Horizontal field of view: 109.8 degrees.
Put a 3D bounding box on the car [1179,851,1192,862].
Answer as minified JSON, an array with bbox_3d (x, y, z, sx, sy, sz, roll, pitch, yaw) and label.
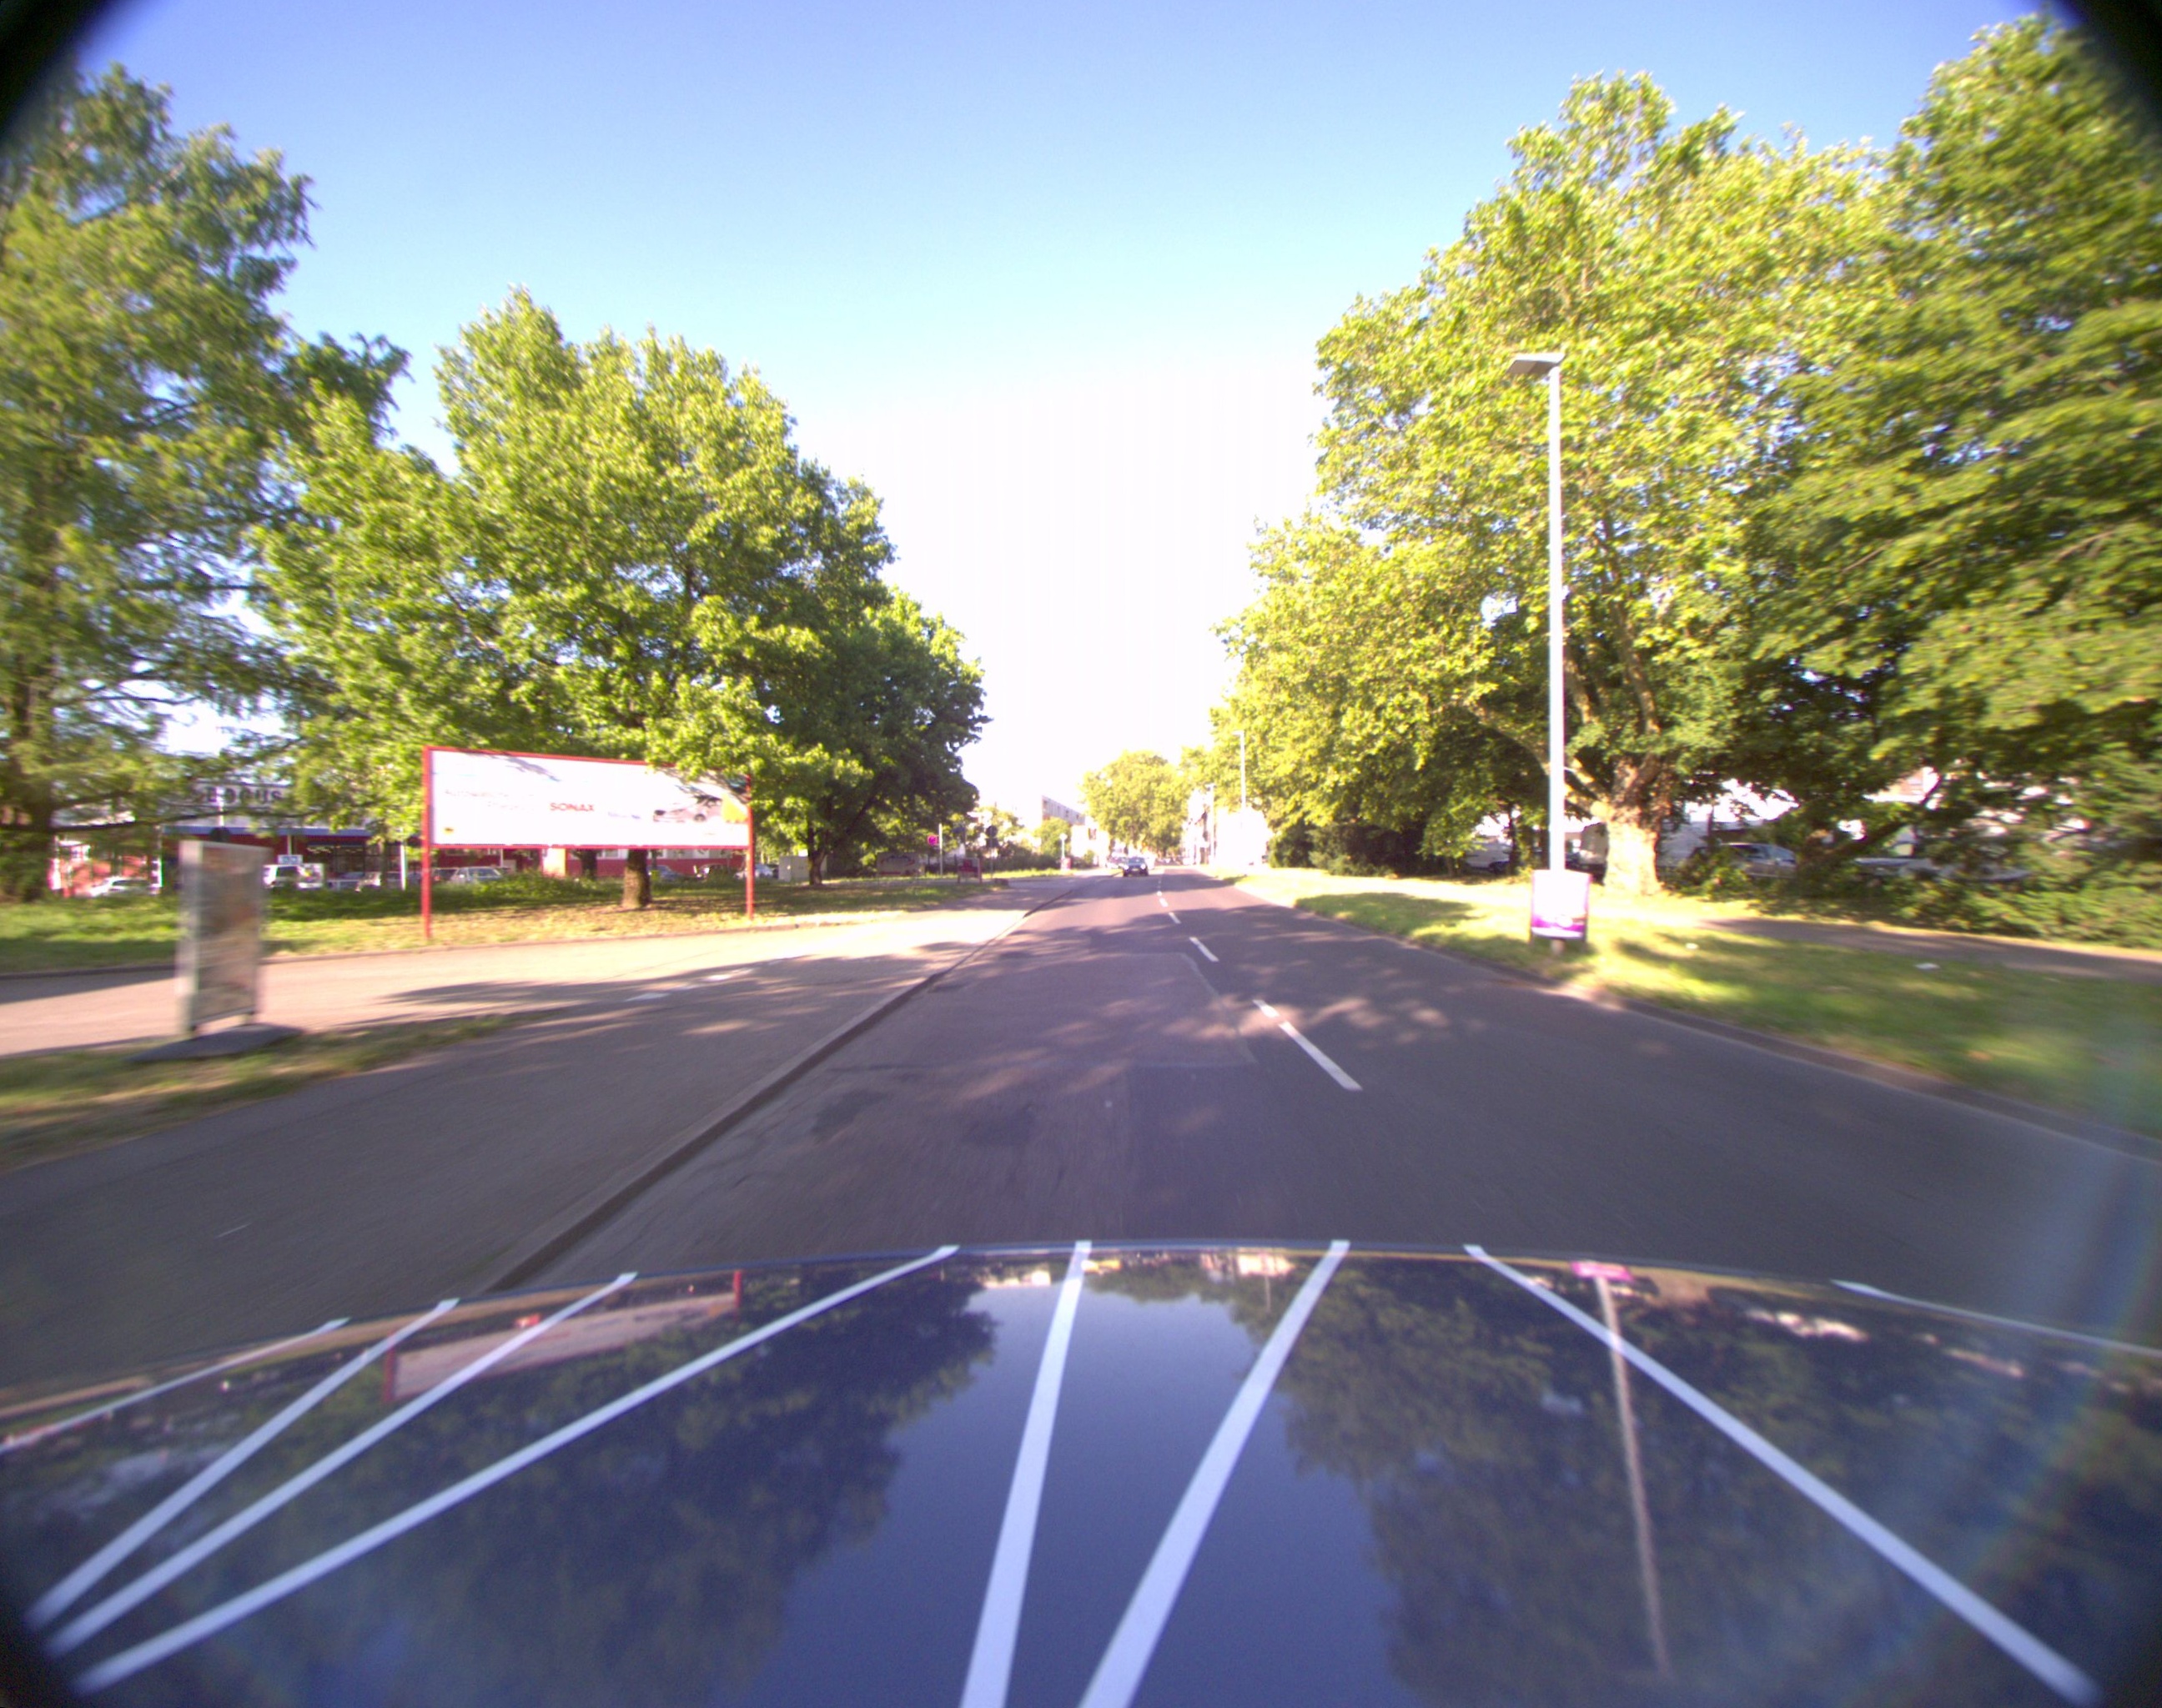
[{"bbox_3d":[15.666,0.350,113.739,1.764,1.475,4.110,-3,0,8],"label":"car"}]

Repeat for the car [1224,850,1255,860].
[{"bbox_3d":[21.484,0.128,103.046,3.992,1.410,1.916,-1,0,17],"label":"car"}]

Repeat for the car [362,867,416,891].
[{"bbox_3d":[-43.872,1.606,48.139,3.544,1.343,1.689,-3,0,34],"label":"car"}]

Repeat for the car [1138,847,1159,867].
[{"bbox_3d":[7.027,0.288,79.136,1.934,2.002,4.000,-1,1,3],"label":"car"}]

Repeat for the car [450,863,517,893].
[{"bbox_3d":[-32.954,1.322,41.892,4.186,1.467,1.792,-3,0,36],"label":"car"}]

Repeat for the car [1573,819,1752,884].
[{"bbox_3d":[23.436,-0.115,30.805,5.443,2.487,2.187,1,1,3],"label":"car"}]

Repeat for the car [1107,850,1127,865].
[{"bbox_3d":[3.817,0.345,79.193,1.786,1.506,4.691,0,1,6],"label":"car"}]

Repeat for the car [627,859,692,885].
[{"bbox_3d":[-27.636,1.185,49.776,4.656,1.467,1.792,-3,0,35],"label":"car"}]

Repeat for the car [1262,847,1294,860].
[{"bbox_3d":[26.242,-0.055,101.385,3.992,1.552,1.867,-2,0,17],"label":"car"}]

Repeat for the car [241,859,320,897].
[{"bbox_3d":[-46.244,1.400,43.889,4.636,1.963,1.896,-3,0,28],"label":"car"}]

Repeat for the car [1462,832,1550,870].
[{"bbox_3d":[24.518,-0.133,43.939,3.998,2.032,1.908,-1,-1,-2],"label":"car"}]

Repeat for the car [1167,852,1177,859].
[{"bbox_3d":[23.203,0.401,193.641,1.899,1.581,4.074,0,0,14],"label":"car"}]

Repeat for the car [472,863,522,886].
[{"bbox_3d":[-41.008,1.461,53.359,3.544,1.418,1.689,-3,0,34],"label":"car"}]

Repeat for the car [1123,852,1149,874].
[{"bbox_3d":[4.012,0.613,55.048,1.869,1.471,4.088,0,0,5],"label":"car"}]

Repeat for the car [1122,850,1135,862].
[{"bbox_3d":[6.985,0.291,110.899,1.601,1.680,4.339,0,0,8],"label":"car"}]

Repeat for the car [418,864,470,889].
[{"bbox_3d":[-43.006,1.550,51.295,3.544,1.493,1.689,-3,0,34],"label":"car"}]

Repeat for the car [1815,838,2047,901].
[{"bbox_3d":[22.640,0.387,20.360,4.135,1.587,1.953,0,1,-2],"label":"car"}]

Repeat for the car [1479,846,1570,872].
[{"bbox_3d":[23.753,0.252,40.786,3.939,1.374,1.693,0,1,2],"label":"car"}]

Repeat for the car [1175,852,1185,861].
[{"bbox_3d":[20.065,0.472,154.368,1.869,1.603,4.088,-2,0,5],"label":"car"}]

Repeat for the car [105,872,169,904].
[{"bbox_3d":[-49.076,1.791,39.488,3.934,1.473,1.688,-3,0,34],"label":"car"}]

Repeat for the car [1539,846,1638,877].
[{"bbox_3d":[23.503,0.352,35.283,3.489,1.374,1.693,-1,1,2],"label":"car"}]

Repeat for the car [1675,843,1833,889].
[{"bbox_3d":[22.813,0.386,25.877,3.735,1.491,1.814,-1,1,2],"label":"car"}]

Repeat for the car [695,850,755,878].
[{"bbox_3d":[-24.506,0.657,52.323,4.433,1.807,1.710,0,1,34],"label":"car"}]

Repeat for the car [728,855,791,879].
[{"bbox_3d":[-22.807,0.946,53.896,4.433,1.584,2.004,-2,1,34],"label":"car"}]

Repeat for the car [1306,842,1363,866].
[{"bbox_3d":[20.684,-0.004,62.008,3.996,1.674,1.728,-4,-1,3],"label":"car"}]
